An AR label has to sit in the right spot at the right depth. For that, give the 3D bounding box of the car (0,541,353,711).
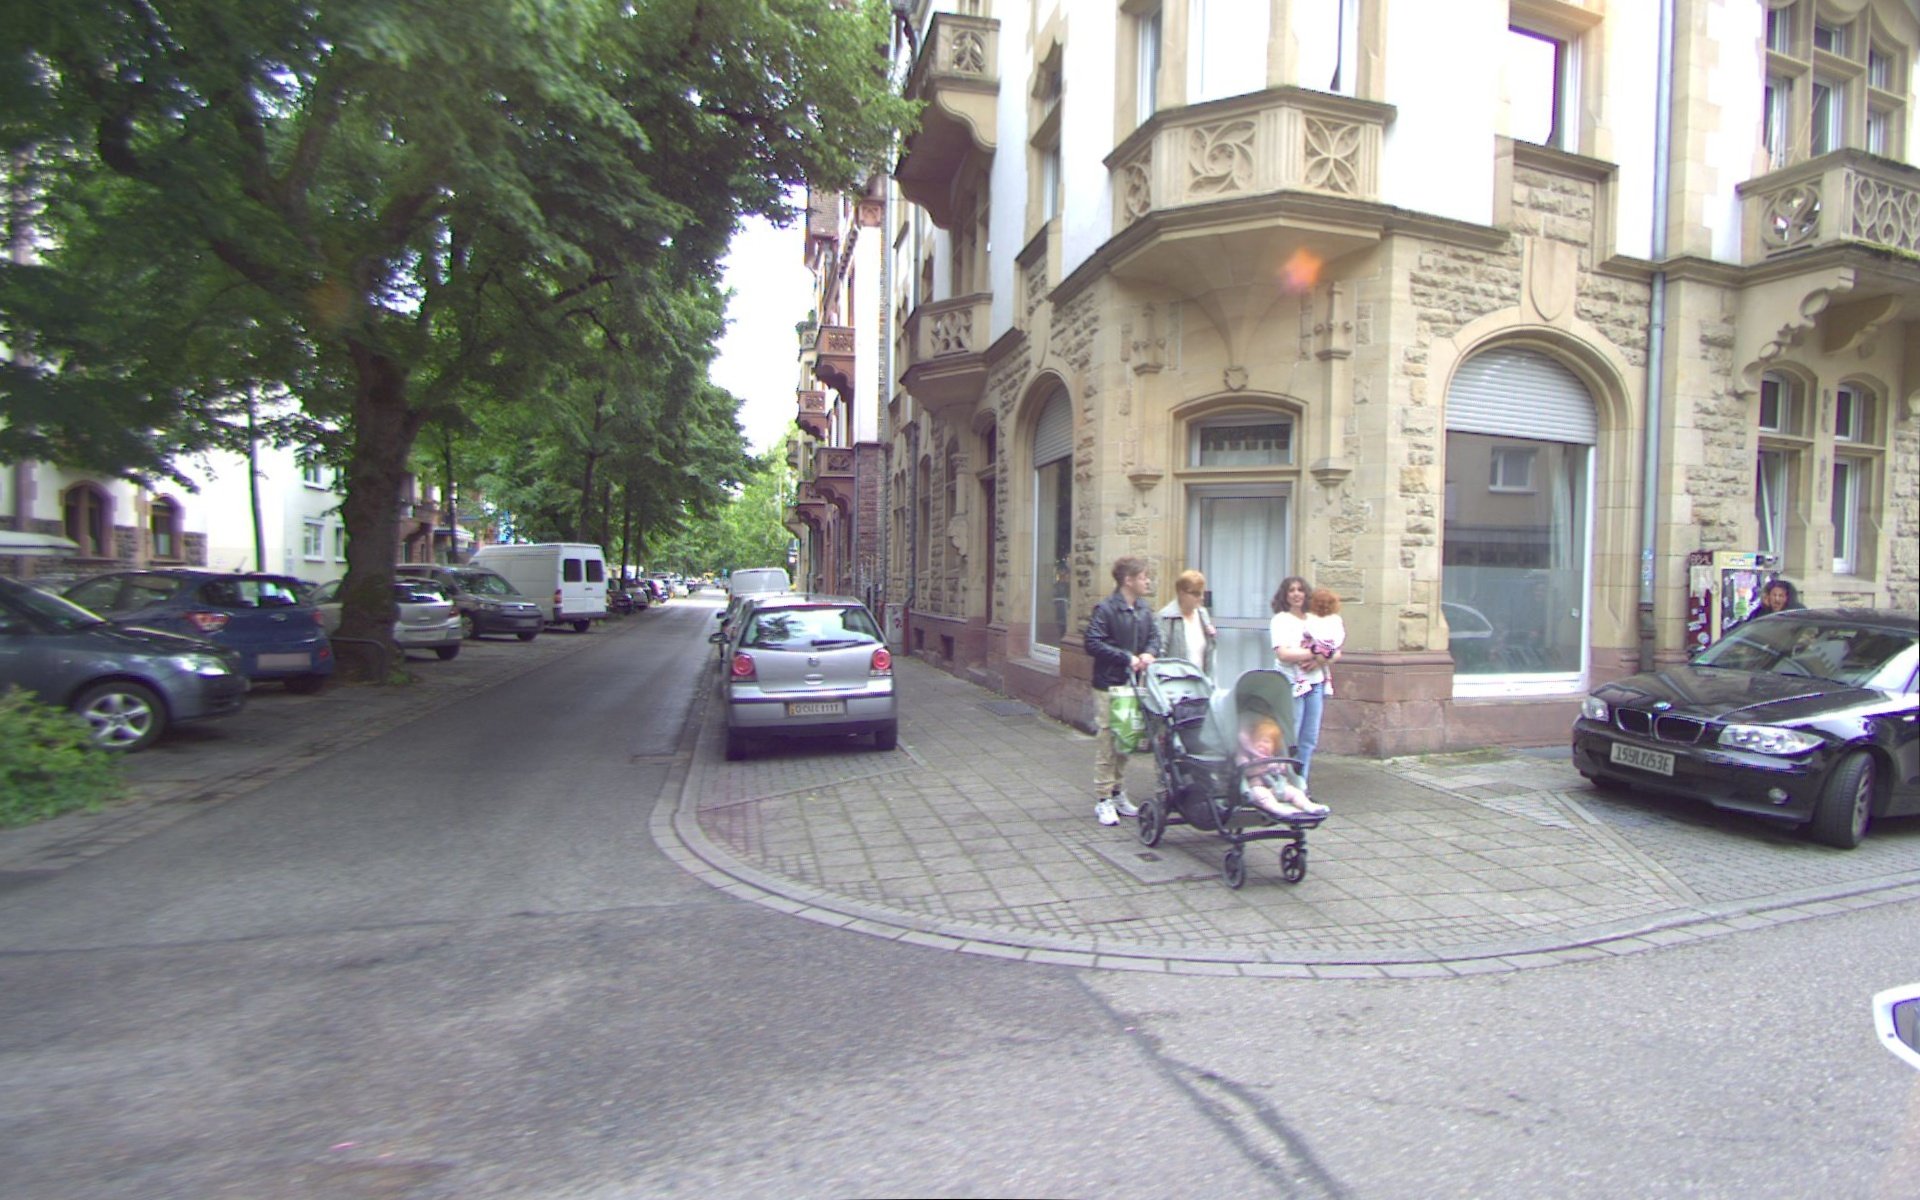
[{"bbox_3d":[-9.237,0.234,11.679,3.540,1.536,1.655,5,2,14],"label":"car"}]

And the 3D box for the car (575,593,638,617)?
[{"bbox_3d":[-14.636,0.185,41.552,2.568,0.919,1.274,2,1,36],"label":"car"}]

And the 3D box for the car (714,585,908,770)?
[{"bbox_3d":[-1.632,0.620,10.345,1.621,1.480,3.571,-1,2,-12],"label":"car"}]

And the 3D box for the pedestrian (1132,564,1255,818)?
[{"bbox_3d":[1.591,0.594,6.916,0.592,1.665,0.617,1,2,-10],"label":"pedestrian"}]

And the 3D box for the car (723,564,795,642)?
[{"bbox_3d":[-5.926,0.036,29.460,1.879,2.035,3.524,2,2,-12],"label":"car"}]

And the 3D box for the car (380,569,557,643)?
[{"bbox_3d":[-11.723,0.123,23.951,3.687,1.538,1.757,3,1,22],"label":"car"}]

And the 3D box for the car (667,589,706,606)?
[{"bbox_3d":[-19.993,-0.194,73.397,2.531,1.149,1.249,1,3,-30],"label":"car"}]

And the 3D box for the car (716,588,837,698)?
[{"bbox_3d":[-2.890,0.580,15.559,1.621,1.480,3.493,1,1,-12],"label":"car"}]

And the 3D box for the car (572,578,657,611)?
[{"bbox_3d":[-16.322,-0.292,47.554,3.299,1.476,1.898,1,1,15],"label":"car"}]

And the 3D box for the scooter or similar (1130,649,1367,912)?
[{"bbox_3d":[1.531,0.914,5.615,0.664,1.119,1.471,1,3,-10],"label":"scooter or similar"}]

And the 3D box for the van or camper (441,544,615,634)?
[{"bbox_3d":[-12.939,-0.379,29.985,5.204,2.495,2.070,2,1,30],"label":"van or camper"}]

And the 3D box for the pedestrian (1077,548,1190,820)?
[{"bbox_3d":[1.100,0.510,6.435,0.519,1.665,0.528,1,3,-10],"label":"pedestrian"}]

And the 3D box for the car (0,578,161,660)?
[{"bbox_3d":[-17.632,0.313,19.850,1.552,1.367,3.380,4,0,-14],"label":"car"}]

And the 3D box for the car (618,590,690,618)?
[{"bbox_3d":[-13.419,0.161,44.091,2.801,1.010,1.260,3,2,18],"label":"car"}]

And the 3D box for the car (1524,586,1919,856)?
[{"bbox_3d":[6.345,0.722,7.328,3.940,1.515,1.706,1,3,-21],"label":"car"}]

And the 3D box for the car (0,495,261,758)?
[{"bbox_3d":[-8.097,0.179,8.169,3.921,1.994,1.815,0,1,-35],"label":"car"}]

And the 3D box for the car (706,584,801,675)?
[{"bbox_3d":[-4.052,0.510,19.694,1.621,1.480,3.492,2,2,-12],"label":"car"}]

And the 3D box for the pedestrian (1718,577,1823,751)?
[{"bbox_3d":[7.423,0.561,9.206,0.538,1.539,0.514,0,1,-22],"label":"pedestrian"}]

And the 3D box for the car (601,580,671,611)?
[{"bbox_3d":[-19.485,-0.240,60.471,3.696,1.692,1.729,1,3,-30],"label":"car"}]

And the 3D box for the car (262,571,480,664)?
[{"bbox_3d":[-10.674,0.280,18.197,3.592,1.500,1.776,2,0,28],"label":"car"}]

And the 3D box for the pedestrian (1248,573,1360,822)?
[{"bbox_3d":[2.374,0.626,6.943,0.656,1.615,0.631,2,2,19],"label":"pedestrian"}]
